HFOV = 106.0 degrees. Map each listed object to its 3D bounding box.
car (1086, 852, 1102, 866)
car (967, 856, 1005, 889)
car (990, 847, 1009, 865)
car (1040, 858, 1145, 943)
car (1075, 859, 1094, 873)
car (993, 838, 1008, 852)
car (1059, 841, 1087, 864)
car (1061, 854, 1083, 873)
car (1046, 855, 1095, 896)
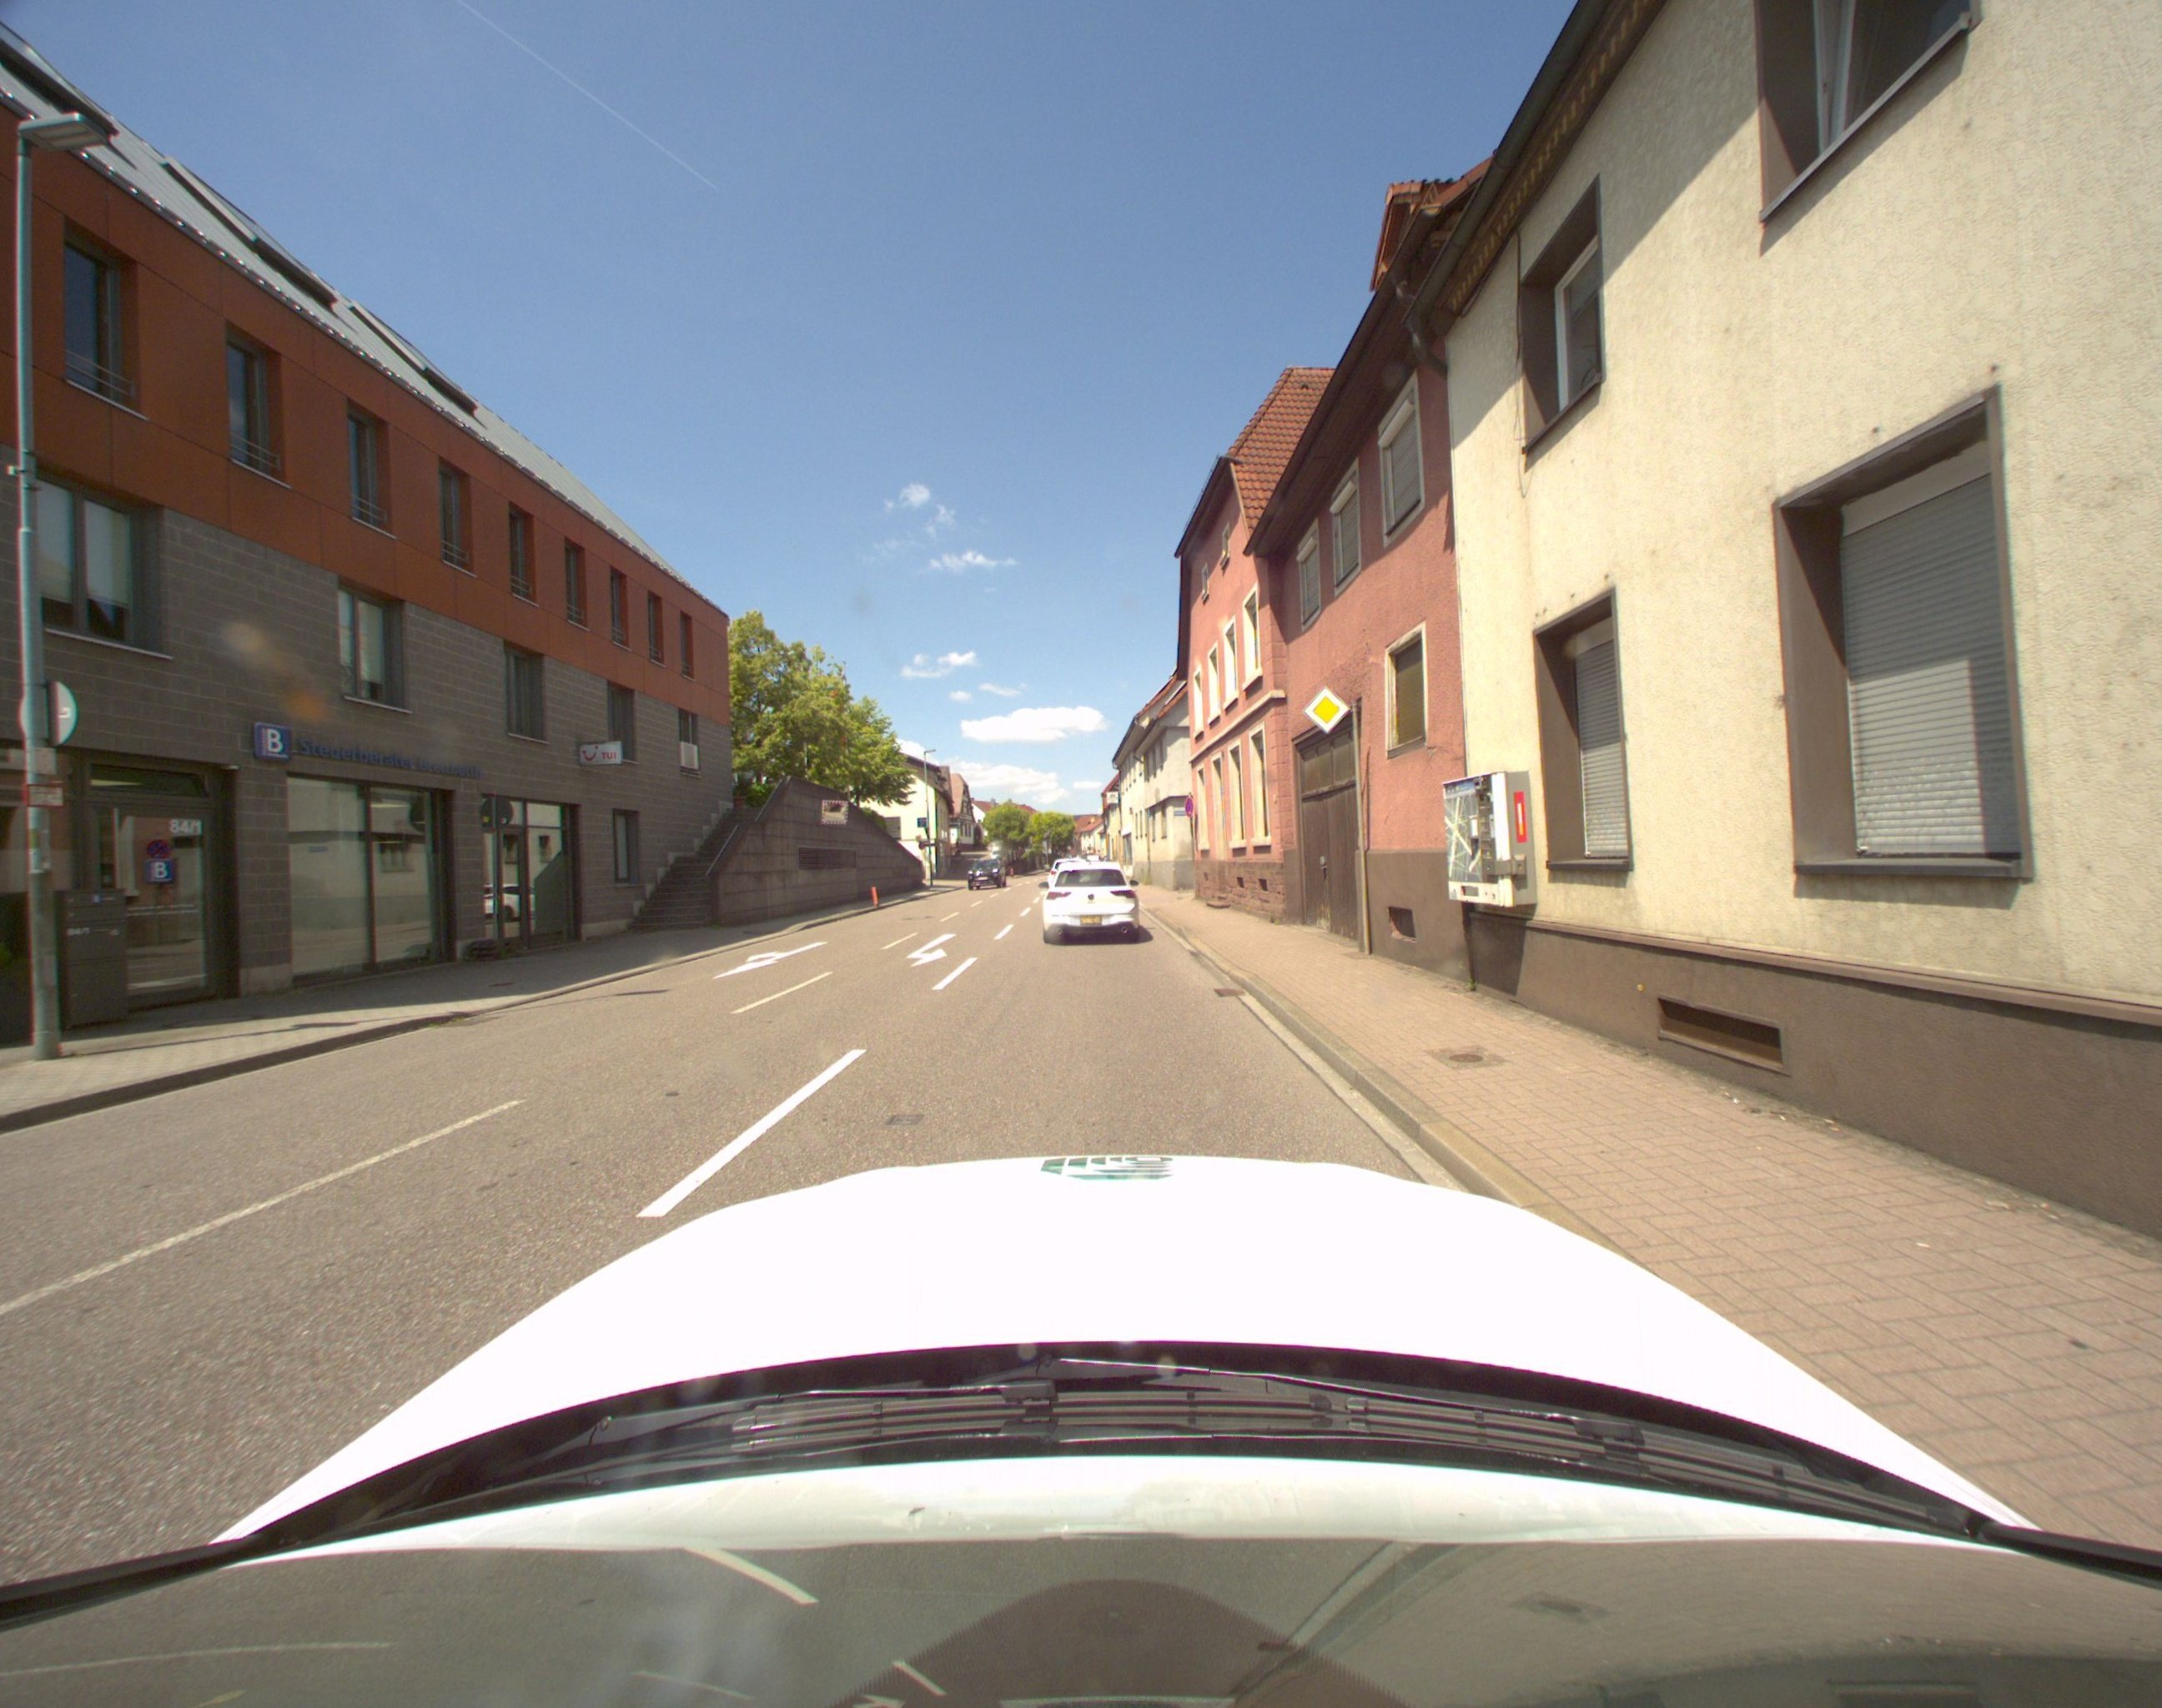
[{"bbox_3d":[1.770,0.695,109.645,1.768,1.765,4.004,-2,0,4],"label":"car"},{"bbox_3d":[-5.107,0.957,44.242,1.665,1.657,4.014,-2,0,-2],"label":"car"},{"bbox_3d":[-8.781,0.162,87.552,1.689,1.542,3.855,-2,5,-1],"label":"car"},{"bbox_3d":[0.338,0.824,16.060,1.800,1.467,4.004,-1,-1,4],"label":"car"},{"bbox_3d":[0.432,1.340,94.494,1.767,1.538,4.005,-2,0,4],"label":"car"},{"bbox_3d":[-9.895,-1.150,100.266,1.572,1.361,3.855,-2,5,-1],"label":"car"},{"bbox_3d":[-0.565,-0.081,55.070,1.803,1.467,3.998,-1,-1,-1],"label":"car"},{"bbox_3d":[-0.763,0.824,71.166,1.769,1.538,4.001,-2,0,1],"label":"car"},{"bbox_3d":[-0.464,0.797,31.792,1.803,1.467,3.996,-1,-1,-3],"label":"car"}]
